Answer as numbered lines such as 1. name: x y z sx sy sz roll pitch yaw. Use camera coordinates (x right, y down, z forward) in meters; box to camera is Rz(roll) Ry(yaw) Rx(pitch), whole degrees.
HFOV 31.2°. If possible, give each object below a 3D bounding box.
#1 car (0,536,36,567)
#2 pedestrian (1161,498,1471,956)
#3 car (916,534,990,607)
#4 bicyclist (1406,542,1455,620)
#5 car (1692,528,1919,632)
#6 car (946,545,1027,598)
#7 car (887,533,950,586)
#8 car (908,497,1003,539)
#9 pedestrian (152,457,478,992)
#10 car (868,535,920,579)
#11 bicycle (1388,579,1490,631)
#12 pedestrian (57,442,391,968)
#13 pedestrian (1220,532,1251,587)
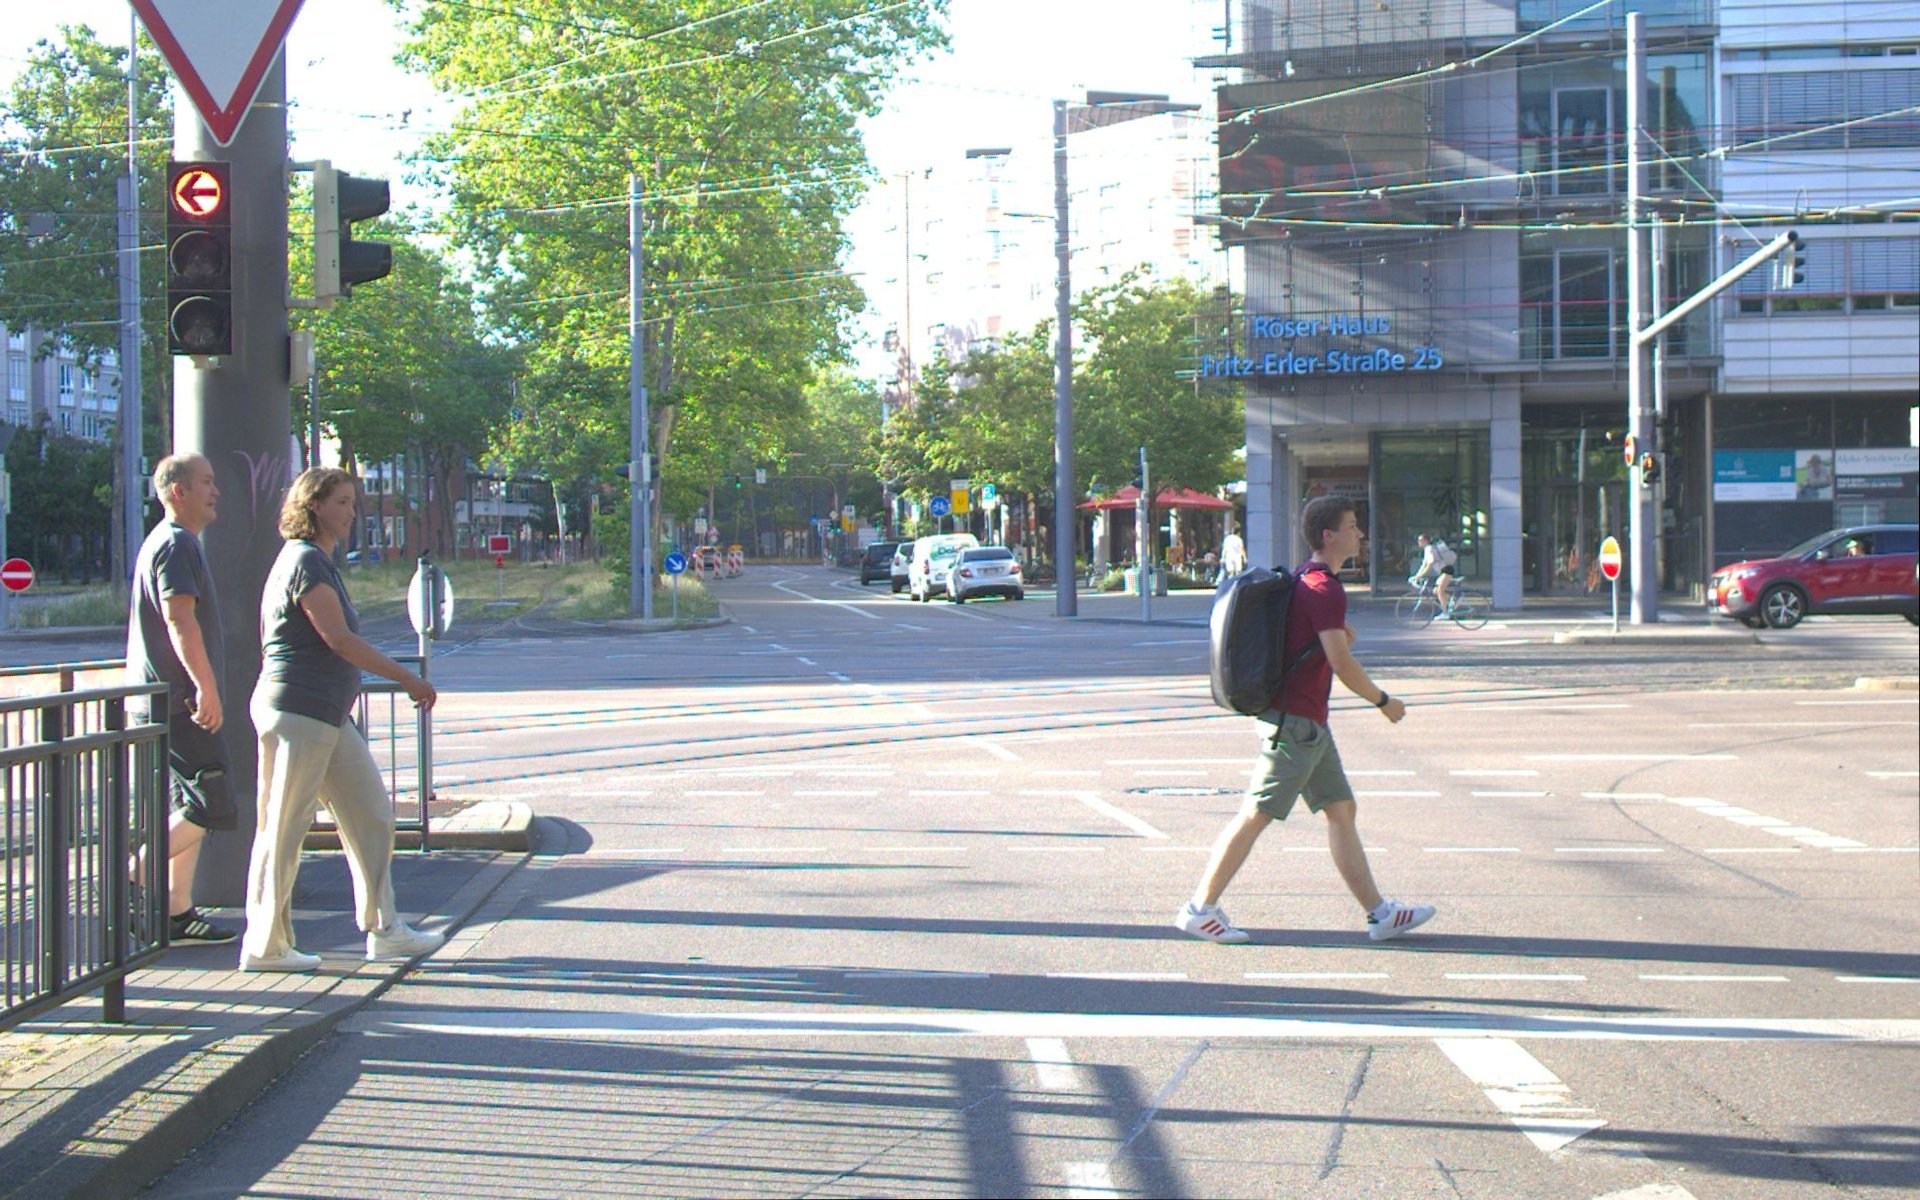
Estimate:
1. car: -49.914 -2.537 177.345 3.987 1.547 1.607 1 0 -32
2. pedestrian: 1.355 0.476 13.197 1.073 1.709 0.628 0 0 -4
3. car: -0.228 -0.835 96.787 1.993 1.985 4.000 -1 1 -1
4. bicyclist: 8.287 -0.332 60.618 0.819 1.362 0.400 -1 1 5
5. car: 14.003 -0.339 54.886 4.241 1.596 1.795 -1 1 1
6. car: 0.676 -0.772 89.946 1.993 1.327 4.000 -1 1 -1
7. car: -1.360 -1.335 112.090 1.993 1.656 4.000 -1 1 -1
8. car: -0.205 -3.531 148.442 3.763 1.744 1.780 1 0 14
9. pedestrian: -2.233 0.419 12.016 1.071 1.800 0.758 0 0 -8
10. car: -2.566 -1.694 133.884 1.993 1.656 4.000 -1 1 -1
11. bicycle: 8.437 0.087 60.613 1.741 0.896 0.409 -1 1 5
12. pedestrian: -2.724 0.377 12.829 1.145 1.887 0.833 0 0 -8
13. pedestrian: 7.301 -1.073 91.133 0.739 1.460 0.537 -1 1 -2
